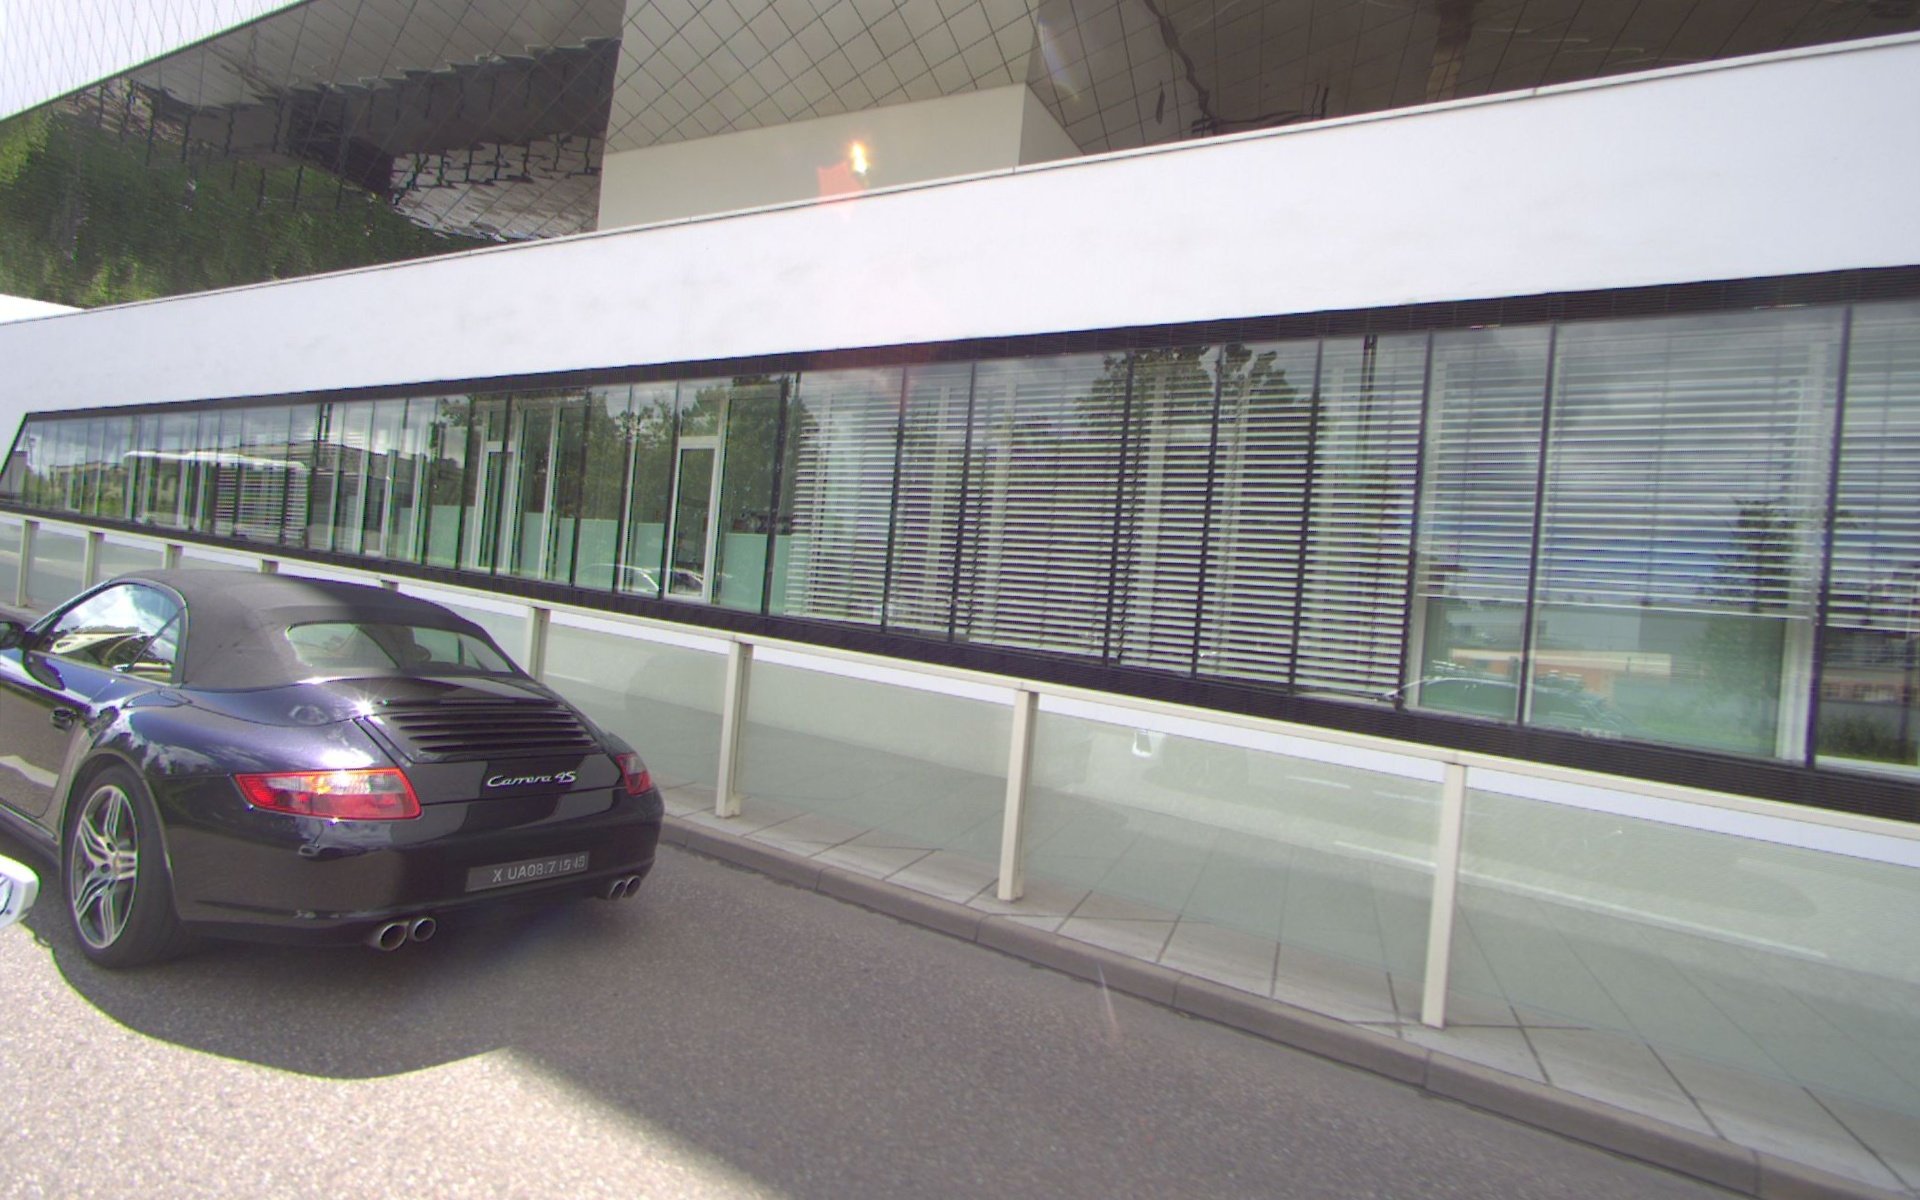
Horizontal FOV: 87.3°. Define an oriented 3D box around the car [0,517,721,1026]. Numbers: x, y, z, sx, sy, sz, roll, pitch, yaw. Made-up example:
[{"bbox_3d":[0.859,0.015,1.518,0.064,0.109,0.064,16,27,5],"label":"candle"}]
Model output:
[{"bbox_3d":[-3.225,0.421,4.562,4.020,1.290,1.723,6,-1,31],"label":"car"}]
